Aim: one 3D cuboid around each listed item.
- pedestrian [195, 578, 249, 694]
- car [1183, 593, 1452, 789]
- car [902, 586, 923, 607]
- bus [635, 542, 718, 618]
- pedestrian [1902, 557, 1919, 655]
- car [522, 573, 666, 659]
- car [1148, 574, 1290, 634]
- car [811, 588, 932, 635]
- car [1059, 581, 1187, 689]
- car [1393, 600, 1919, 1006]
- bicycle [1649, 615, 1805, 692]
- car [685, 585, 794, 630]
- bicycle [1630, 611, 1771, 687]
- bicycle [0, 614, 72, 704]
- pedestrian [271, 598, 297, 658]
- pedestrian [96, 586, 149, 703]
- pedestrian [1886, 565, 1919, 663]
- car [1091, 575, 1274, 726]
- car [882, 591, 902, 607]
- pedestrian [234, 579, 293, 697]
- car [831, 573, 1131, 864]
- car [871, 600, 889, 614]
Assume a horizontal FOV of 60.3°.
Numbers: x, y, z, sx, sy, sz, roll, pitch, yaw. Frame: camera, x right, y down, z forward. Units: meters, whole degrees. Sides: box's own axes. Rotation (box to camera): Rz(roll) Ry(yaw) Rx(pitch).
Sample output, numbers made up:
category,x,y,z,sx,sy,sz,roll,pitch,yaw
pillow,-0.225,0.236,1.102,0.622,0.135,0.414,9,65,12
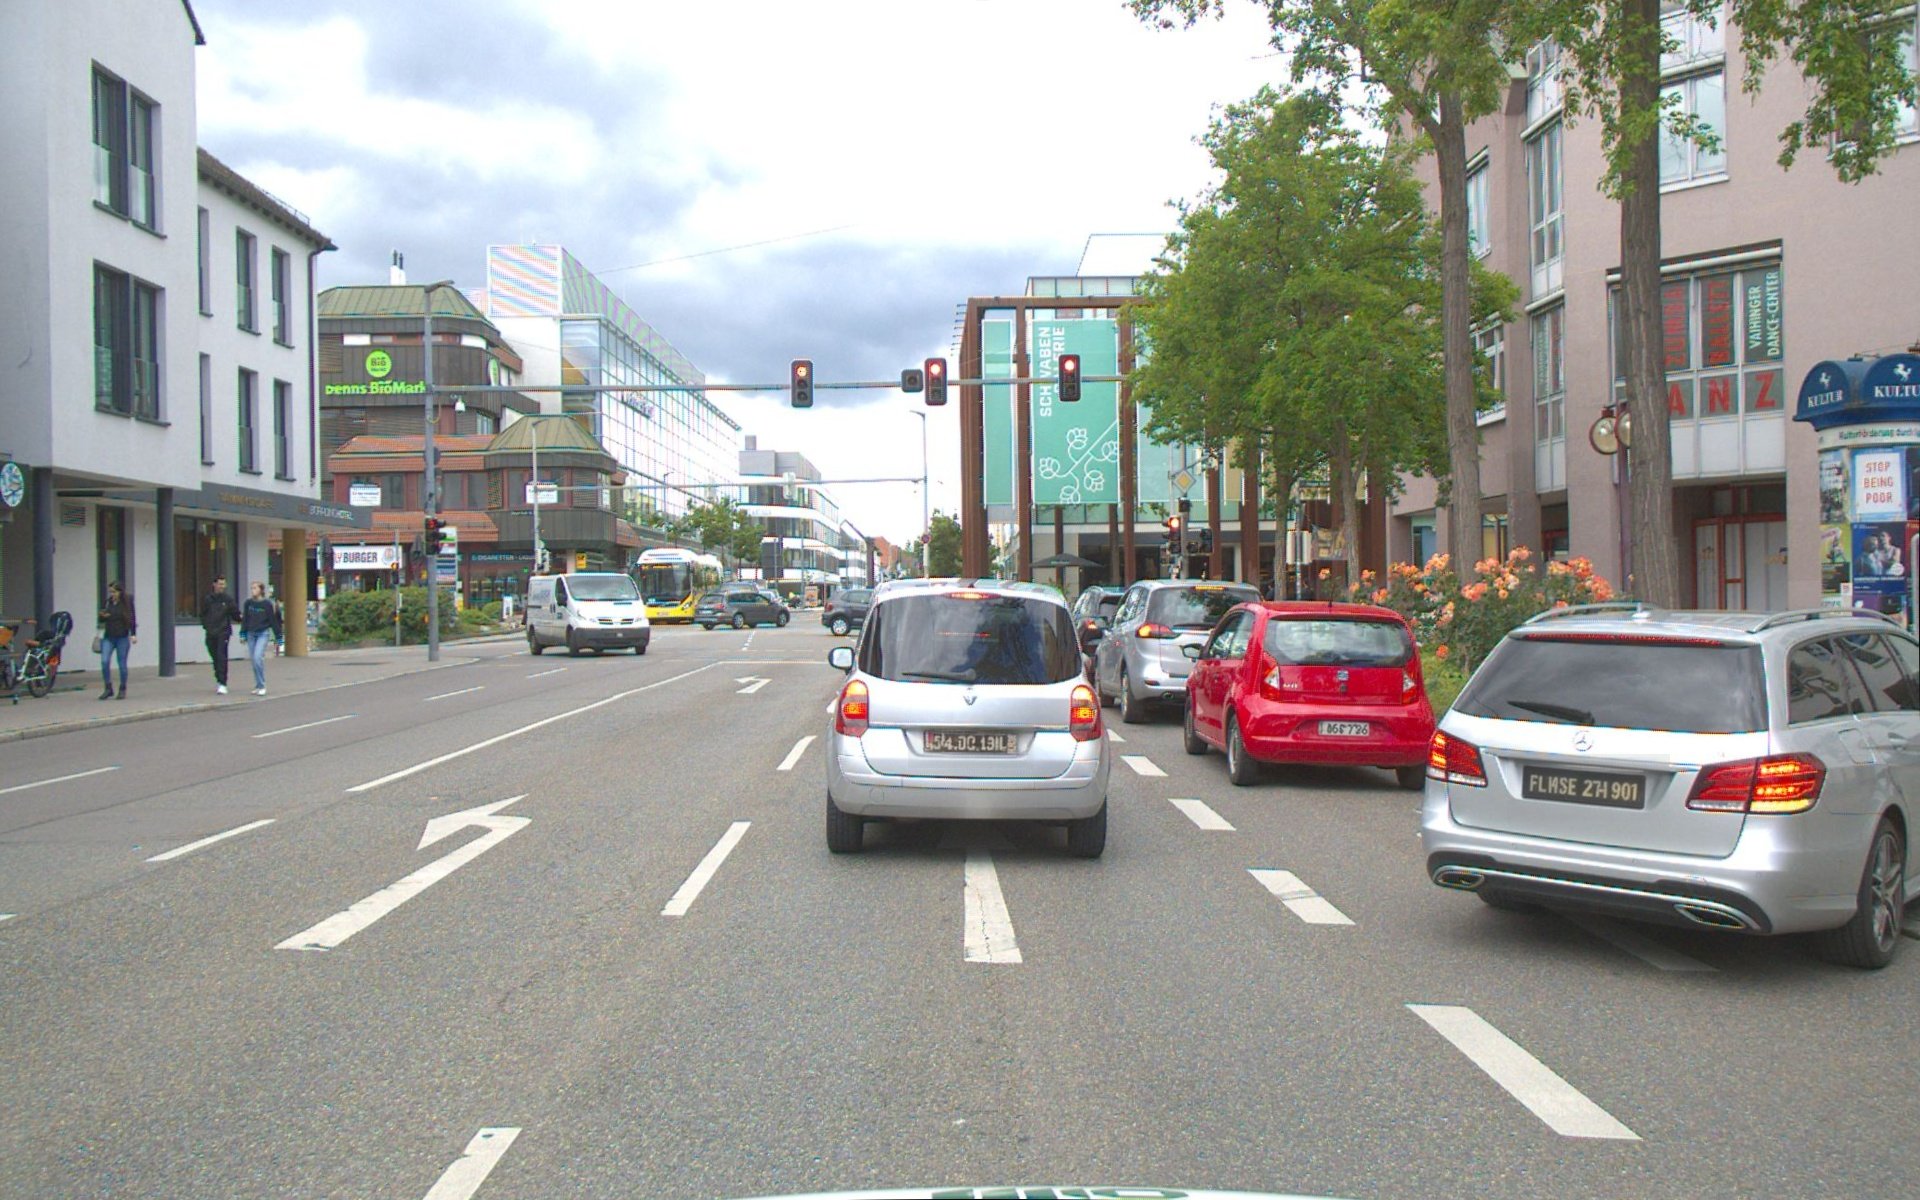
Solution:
category,x,y,z,sx,sy,sz,roll,pitch,yaw
pedestrian,-11.660,0.560,26.151,0.557,1.806,0.646,-1,0,-3
car,2.980,0.694,14.411,1.554,1.468,3.348,1,0,-1
car,-4.594,-0.365,160.448,1.953,1.983,4.949,0,0,-2
bus,-13.139,-0.904,77.277,2.633,3.318,8.650,0,0,-2
pedestrian,15.894,0.095,27.005,0.653,1.591,0.618,0,0,-23
car,-9.046,0.369,40.544,1.973,1.921,5.105,-2,1,-30
car,8.197,0.122,52.534,4.296,1.804,1.327,-1,0,-1
car,-2.779,0.355,52.473,3.752,1.413,1.684,-1,0,-1
car,2.614,0.531,27.260,1.555,1.623,3.866,1,0,-2
car,4.075,0.786,8.345,1.790,1.474,4.340,1,0,44
bicycle,10.363,0.718,22.370,1.861,1.014,0.468,-1,0,3
car,-8.665,0.256,65.311,1.885,1.706,4.225,0,0,36
bicycle,10.257,0.679,22.922,1.731,1.014,0.447,-1,0,3
bicycle,-13.397,0.824,23.772,0.379,1.207,1.824,-1,0,-4
pedestrian,-19.030,0.773,46.585,0.653,1.678,0.788,-1,0,-22
pedestrian,-12.253,0.644,24.215,0.643,1.679,0.555,-1,0,-25
pedestrian,15.296,0.216,26.436,0.601,1.542,0.618,0,0,-22
car,2.649,0.552,20.443,1.555,1.662,3.915,1,0,-2
car,-6.554,-0.105,159.542,1.764,1.567,4.065,0,0,1
pedestrian,-10.879,0.581,25.852,0.669,1.821,0.648,-1,0,-7
car,0.087,0.628,10.607,1.606,1.554,3.393,1,0,-1
car,-9.343,0.836,193.215,1.764,1.567,4.065,0,0,1
